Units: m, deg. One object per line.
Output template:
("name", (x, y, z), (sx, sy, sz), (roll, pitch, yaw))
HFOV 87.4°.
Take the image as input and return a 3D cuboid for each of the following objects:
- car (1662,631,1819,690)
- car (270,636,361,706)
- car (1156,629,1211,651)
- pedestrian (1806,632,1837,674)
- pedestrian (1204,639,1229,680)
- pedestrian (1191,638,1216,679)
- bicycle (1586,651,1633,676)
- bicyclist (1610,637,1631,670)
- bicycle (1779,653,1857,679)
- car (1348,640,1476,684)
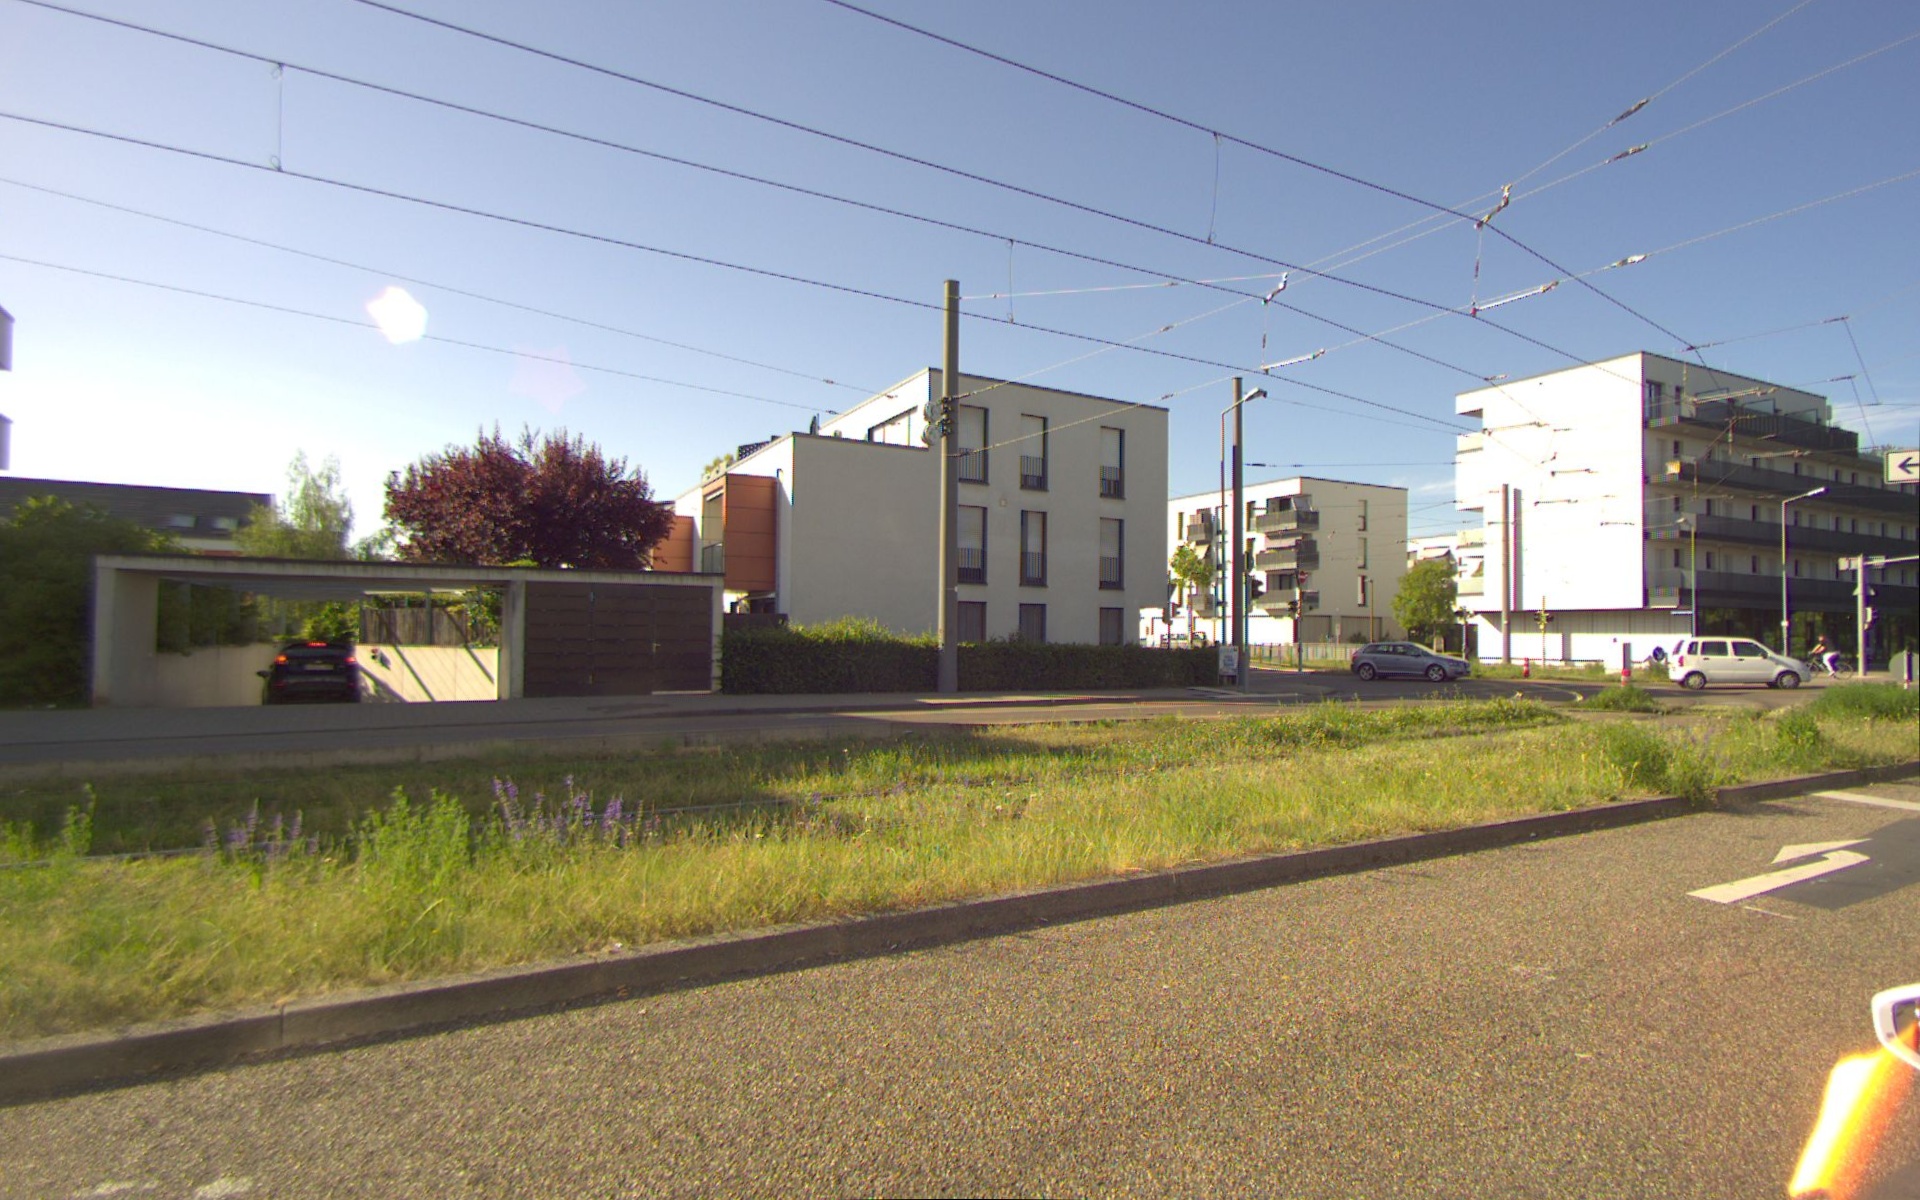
("car", (24.782, 1.883, 32.061), (3.618, 1.743, 1.868), (0, -1, 26))
("car", (-14.352, 1.627, 22.368), (1.560, 1.344, 3.966), (2, -7, -33))
("car", (17.813, 3.188, 80.286), (1.974, 1.595, 4.309), (2, 0, -27))
("pedestrian", (35.582, 2.199, 41.504), (0.614, 1.714, 0.808), (2, -2, -32))
("pedestrian", (10.525, 2.433, 41.143), (0.760, 1.626, 0.741), (2, 0, 32))
("pedestrian", (10.136, 2.424, 41.776), (0.760, 1.626, 0.741), (2, 0, 32))
("bicycle", (33.615, 3.264, 52.001), (0.814, 1.139, 1.842), (2, 0, -35))
("bicyclist", (33.908, 2.731, 51.595), (0.777, 1.635, 0.634), (2, 0, -36))
("bicycle", (35.504, 2.723, 41.598), (0.633, 1.015, 2.396), (2, -2, -32))
("car", (16.954, 2.284, 37.782), (4.052, 1.505, 1.860), (-1, -3, 43))
